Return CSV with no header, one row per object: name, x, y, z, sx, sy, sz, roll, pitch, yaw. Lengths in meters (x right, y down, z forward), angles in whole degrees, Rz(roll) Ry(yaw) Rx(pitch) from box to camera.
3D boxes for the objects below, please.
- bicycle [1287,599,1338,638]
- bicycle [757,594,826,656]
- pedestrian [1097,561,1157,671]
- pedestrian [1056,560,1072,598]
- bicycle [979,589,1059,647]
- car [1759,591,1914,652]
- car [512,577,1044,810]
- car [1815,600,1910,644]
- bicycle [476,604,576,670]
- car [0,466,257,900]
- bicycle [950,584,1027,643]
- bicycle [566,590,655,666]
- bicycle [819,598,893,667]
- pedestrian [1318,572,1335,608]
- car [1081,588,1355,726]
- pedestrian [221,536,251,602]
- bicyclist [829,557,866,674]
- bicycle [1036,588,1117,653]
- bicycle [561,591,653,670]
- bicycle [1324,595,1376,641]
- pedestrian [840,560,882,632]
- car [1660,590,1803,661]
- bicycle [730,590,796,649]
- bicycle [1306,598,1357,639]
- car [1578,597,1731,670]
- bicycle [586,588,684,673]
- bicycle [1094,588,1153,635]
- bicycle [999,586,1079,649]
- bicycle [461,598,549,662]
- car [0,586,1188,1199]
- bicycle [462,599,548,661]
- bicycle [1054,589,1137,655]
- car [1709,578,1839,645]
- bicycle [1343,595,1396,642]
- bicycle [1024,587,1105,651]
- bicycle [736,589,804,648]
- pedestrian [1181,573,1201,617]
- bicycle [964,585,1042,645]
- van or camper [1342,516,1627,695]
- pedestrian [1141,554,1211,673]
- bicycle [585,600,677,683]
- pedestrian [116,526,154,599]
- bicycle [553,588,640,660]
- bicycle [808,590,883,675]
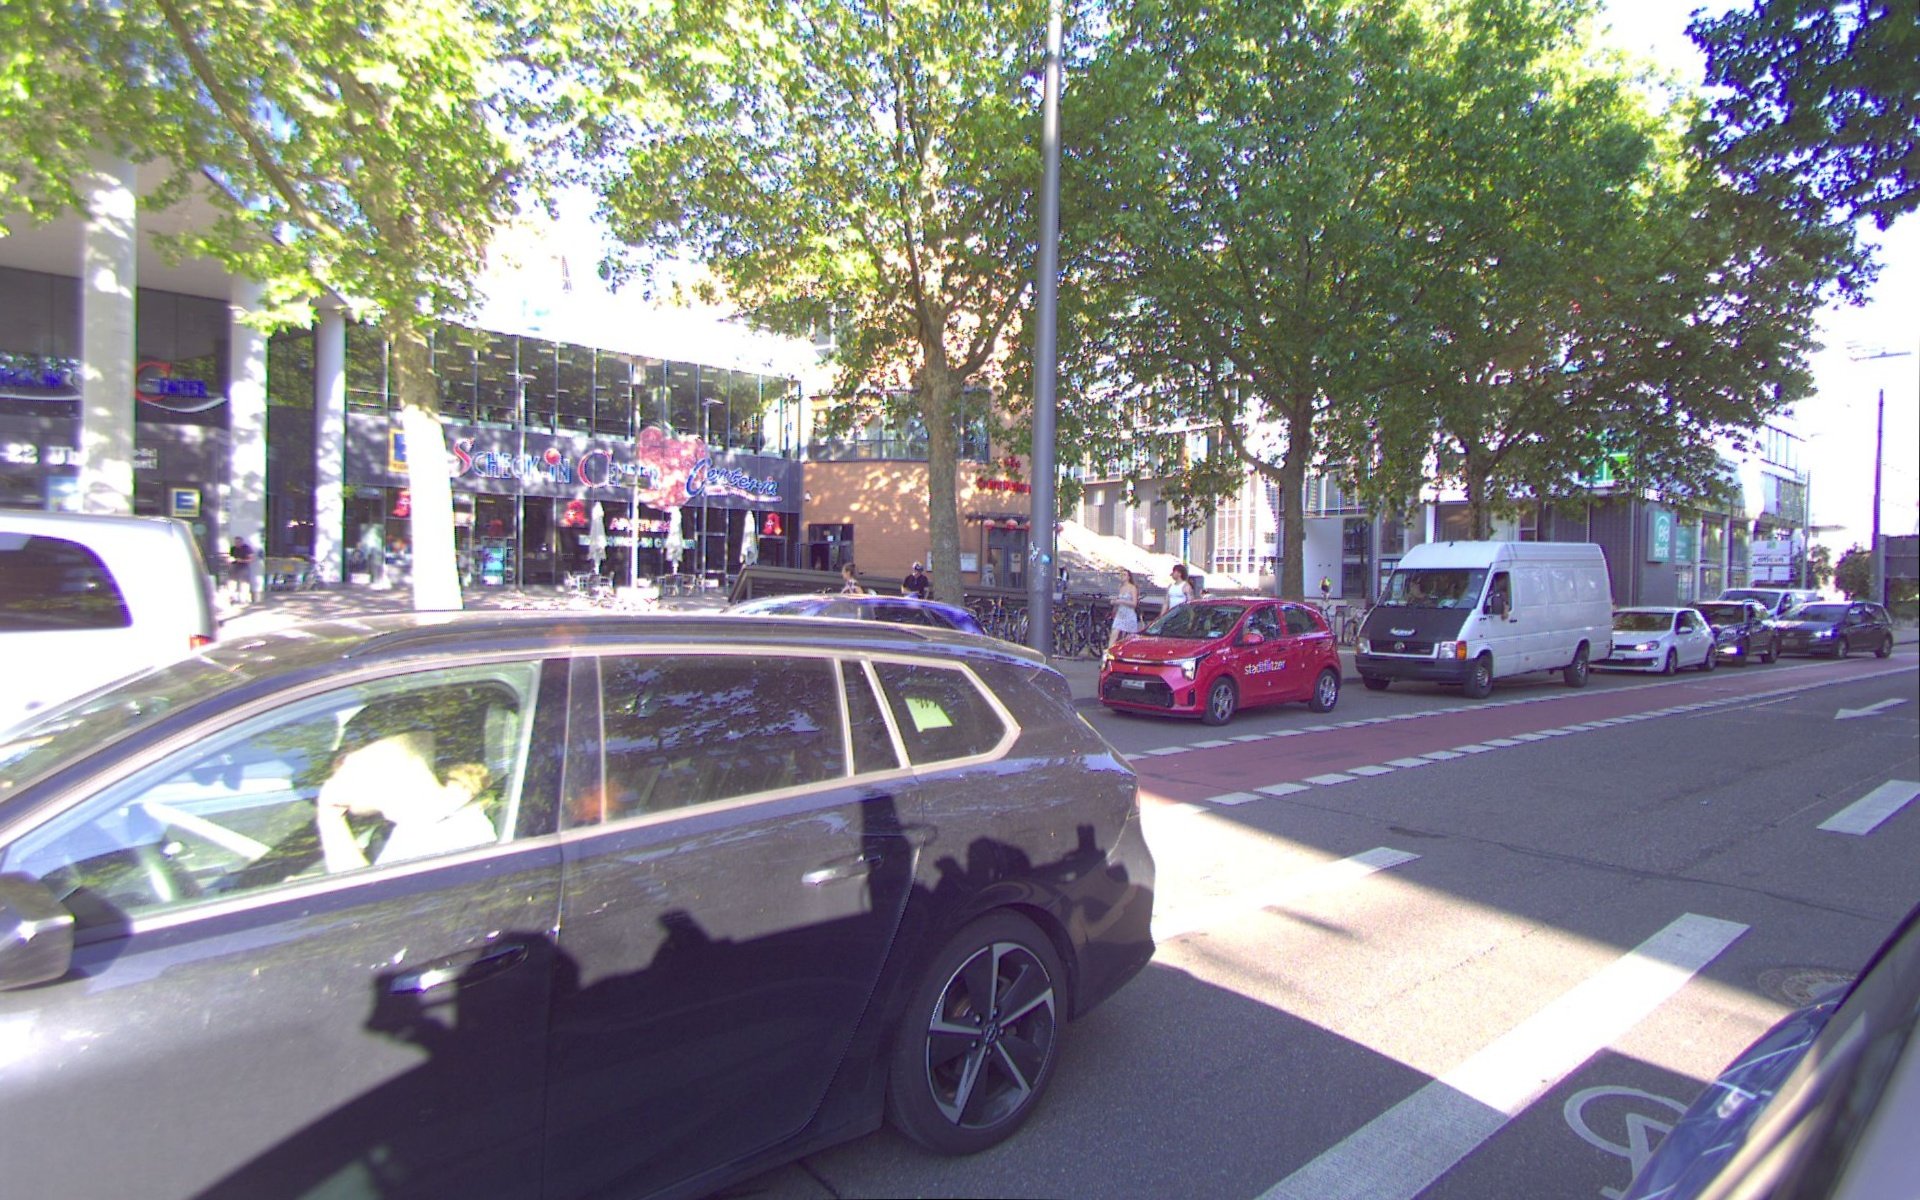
bicycle,9.916,0.506,28.446,1.818,1.046,0.515,0,2,-41
bicycle,-3.122,0.445,18.830,1.202,1.110,0.427,0,1,-40
pedestrian,2.808,0.247,17.015,0.646,1.799,0.752,2,1,43
pedestrian,5.706,-1.142,55.623,0.861,2.062,0.585,1,1,6
bicycle,1.246,0.352,20.960,1.818,1.139,0.484,0,2,-41
car,25.287,0.582,29.181,4.242,1.640,1.970,0,1,-28
car,-1.371,0.595,8.659,4.177,1.503,1.742,0,2,-41
car,31.708,0.738,35.529,3.927,1.394,1.802,0,2,-38
bicycle,-6.248,0.519,14.588,1.231,0.898,0.462,0,1,-40
car,-6.210,0.357,4.396,5.008,2.004,1.940,0,2,-41
bicycle,0.627,0.272,21.693,1.818,1.209,0.434,0,1,-41
bicycle,-5.369,0.406,15.580,0.372,1.110,1.269,2,1,41
bicycle,-1.755,0.535,17.111,1.202,1.110,0.420,0,1,-40
pedestrian,22.517,-0.629,62.190,0.826,2.183,0.852,2,1,26
car,3.338,0.610,12.808,3.588,1.476,1.605,0,1,-41
pedestrian,-18.807,-0.801,26.287,0.506,1.707,0.604,1,1,-23
bicyclist,-1.754,0.230,15.743,0.392,1.782,0.390,0,1,-41
bicycle,2.289,0.389,19.742,1.818,1.209,0.448,0,1,-41
bicycle,-5.167,0.425,14.832,1.202,1.110,0.396,0,1,-40
bicycle,10.655,0.485,27.623,1.818,1.209,0.495,0,2,-41
pedestrian,-2.456,-0.104,25.143,0.795,1.728,0.714,1,1,16
car,19.694,0.592,25.786,4.148,1.640,1.819,0,1,-36
bicycle,-3.897,0.373,20.040,1.202,1.110,0.429,0,1,-40
bicycle,10.299,0.496,28.035,1.766,1.108,0.522,0,2,-41
car,15.306,0.679,22.252,3.927,1.446,1.683,0,1,-38
bicycle,-4.445,0.400,13.875,1.202,1.110,0.413,0,1,-40
bicycle,4.381,0.306,27.058,1.759,1.209,0.517,0,2,-41
bicycle,1.619,0.340,20.511,1.818,1.209,0.447,0,1,-41
bicycle,-6.968,0.454,15.535,1.198,0.930,0.442,1,1,-22
car,-1.429,0.689,2.463,4.196,1.432,1.742,0,0,-41
bicycle,-7.130,0.463,15.912,1.198,0.938,0.465,1,1,-22
bicycle,2.612,0.400,19.356,1.818,1.209,0.481,0,2,-41
car,26.458,0.346,32.848,4.863,2.020,1.968,0,1,-35
bicycle,11.023,0.479,27.224,1.818,1.209,0.521,0,2,-41
bicycle,2.101,0.363,20.250,1.818,1.209,0.484,0,2,-41
bicycle,-3.652,0.344,19.497,1.202,1.110,0.444,0,1,-40
pedestrian,8.541,-0.185,37.420,0.707,1.578,0.638,1,1,14
bicycle,0.925,0.297,21.340,1.818,1.209,0.458,0,1,-41
van or camper,9.287,0.070,17.576,6.456,2.611,1.998,0,0,-39
pedestrian,3.540,0.211,16.596,0.642,1.867,0.801,7,4,45
bicycle,-4.590,0.565,14.172,1.202,1.110,0.269,0,1,-40
pedestrian,-20.944,-0.954,25.706,0.590,1.805,0.889,1,1,-28
bicycle,-5.860,0.363,16.364,0.414,1.110,1.269,2,1,41
bicycle,-1.777,0.483,15.756,1.126,1.271,0.379,0,1,-41
